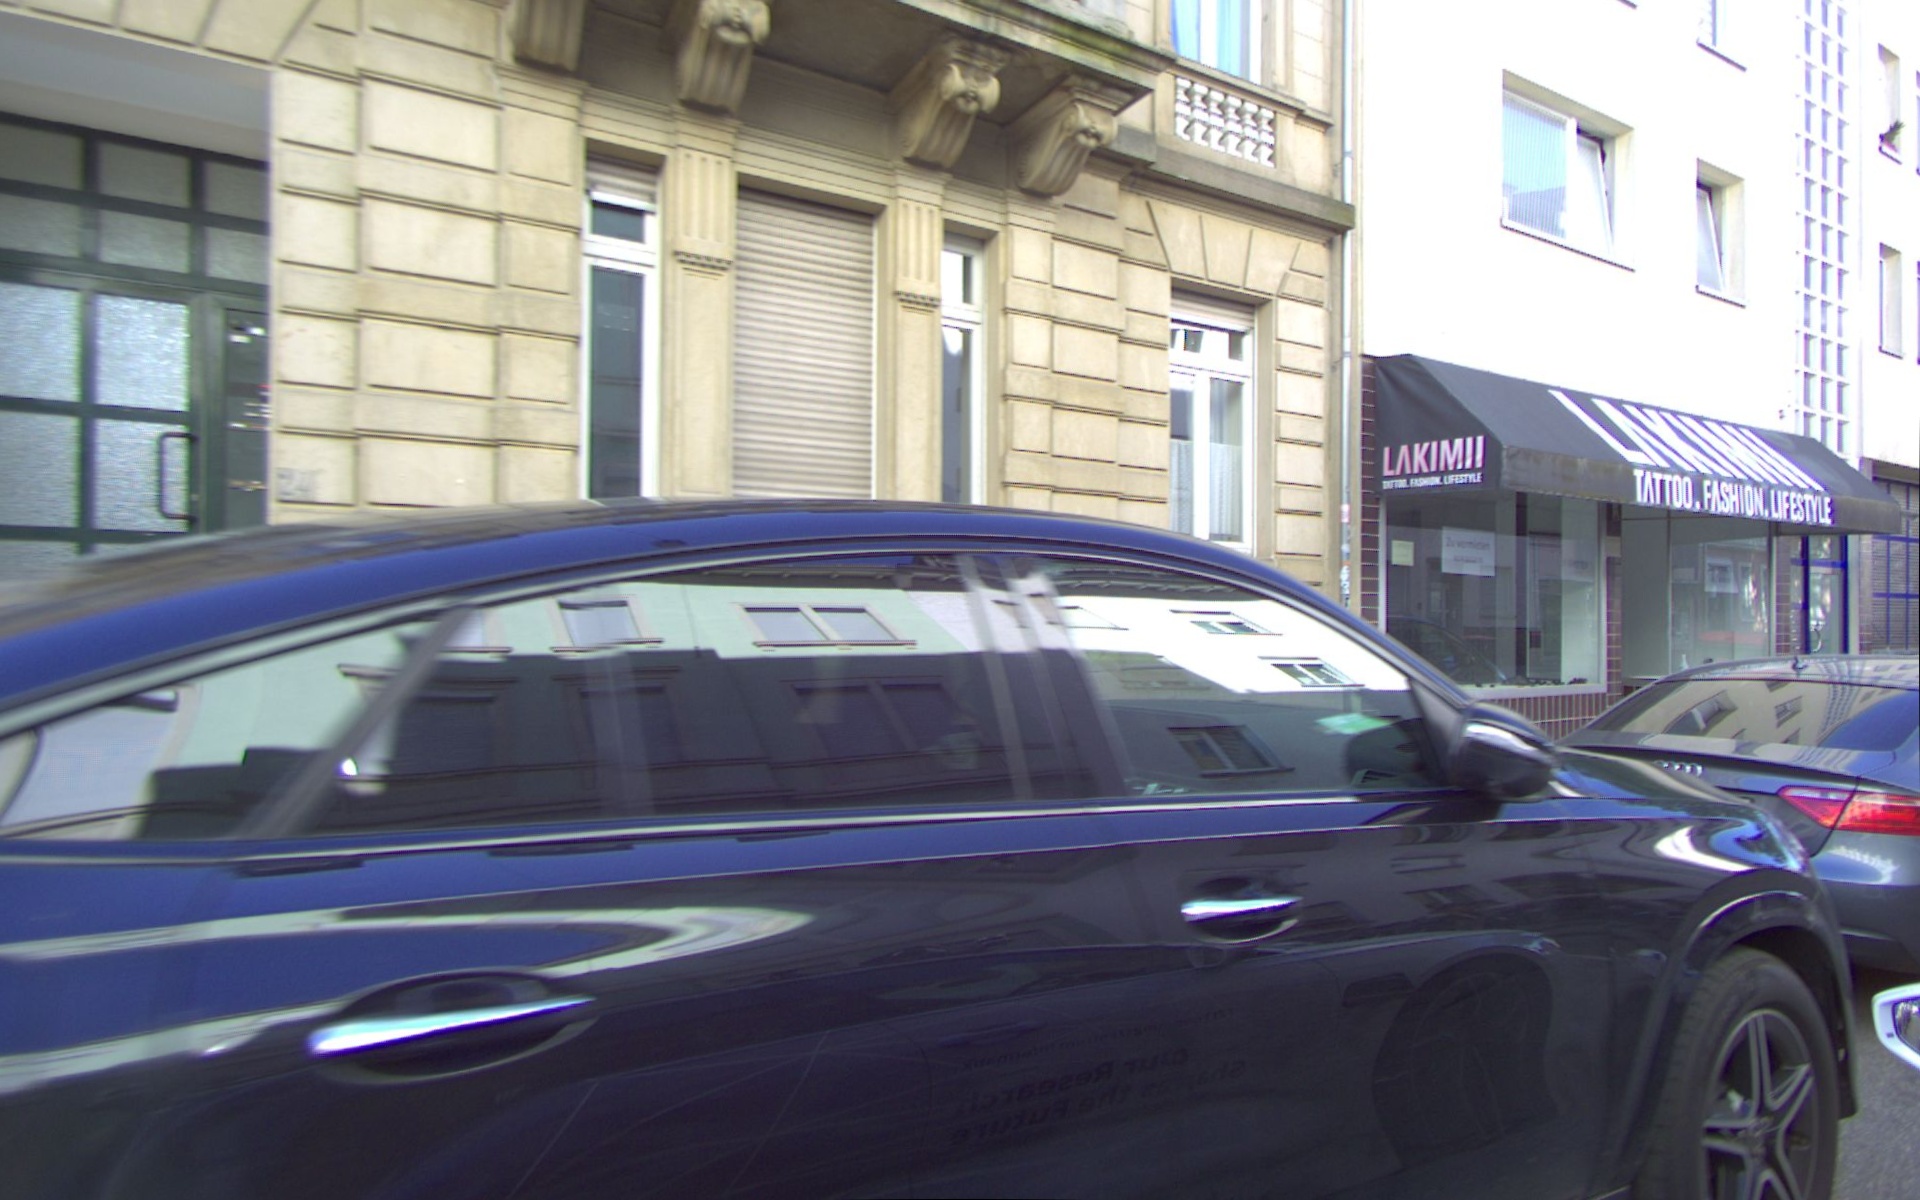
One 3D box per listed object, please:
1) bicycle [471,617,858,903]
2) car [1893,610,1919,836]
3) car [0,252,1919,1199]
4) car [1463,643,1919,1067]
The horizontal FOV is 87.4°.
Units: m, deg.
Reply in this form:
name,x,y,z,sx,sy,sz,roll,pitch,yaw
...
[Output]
name,x,y,z,sx,sy,sz,roll,pitch,yaw
bicycle,-1.493,0.755,5.222,1.844,1.294,0.508,2,-2,-28
car,9.539,0.928,7.987,4.614,1.688,1.775,1,-2,-30
car,0.070,0.675,2.287,5.080,1.759,1.928,1,-2,-30
car,4.967,0.964,5.265,4.760,1.435,1.837,2,-3,-30
